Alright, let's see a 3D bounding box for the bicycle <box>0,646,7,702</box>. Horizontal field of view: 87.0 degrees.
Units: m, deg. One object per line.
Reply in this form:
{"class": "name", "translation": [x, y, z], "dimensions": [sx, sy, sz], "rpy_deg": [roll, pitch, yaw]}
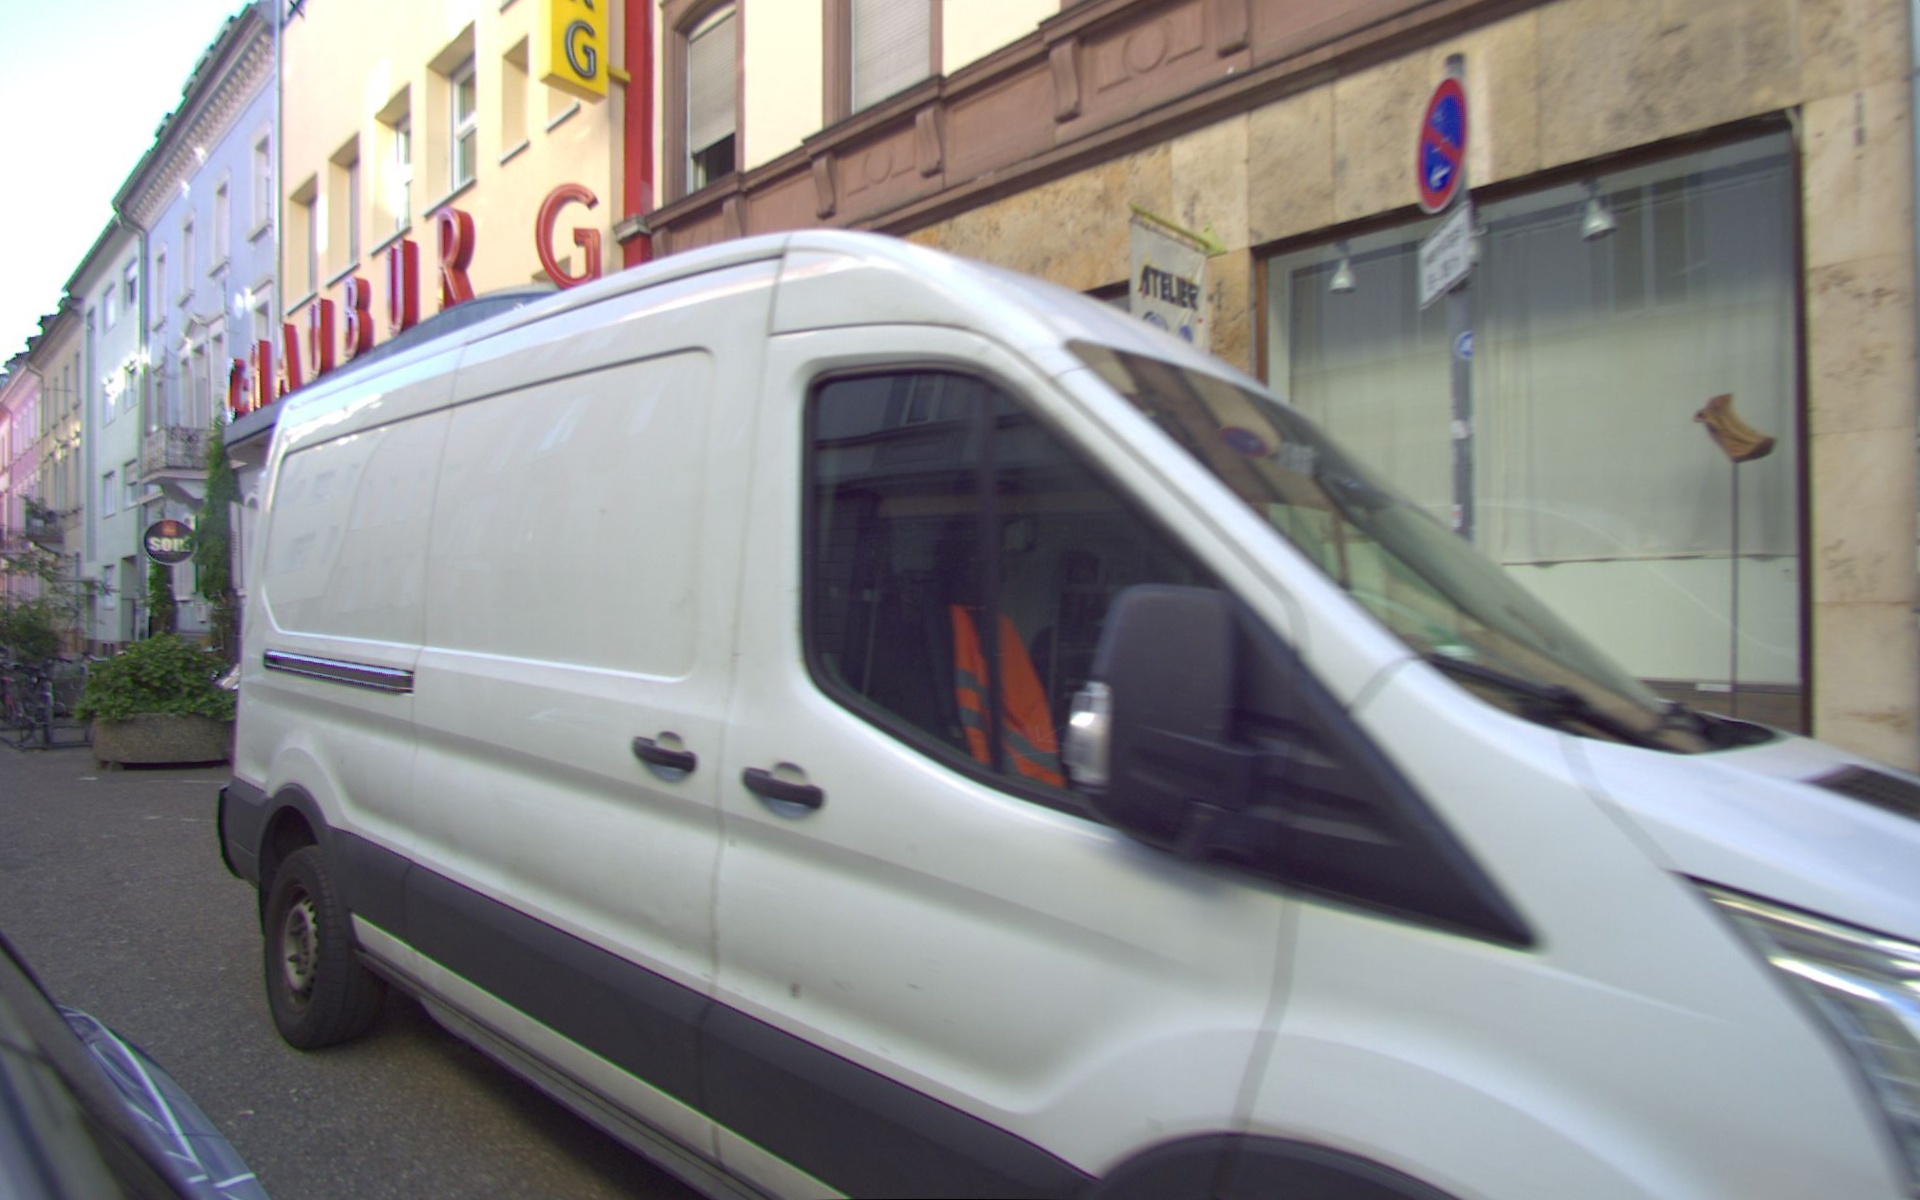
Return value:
{"class": "bicycle", "translation": [-20.092, 1.514, 20.892], "dimensions": [1.931, 1.114, 0.438], "rpy_deg": [-2, -1, 42]}

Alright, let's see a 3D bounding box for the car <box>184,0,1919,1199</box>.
{"class": "car", "translation": [-0.225, 0.288, 3.078], "dimensions": [5.917, 2.471, 2.146], "rpy_deg": [-2, -3, 41]}

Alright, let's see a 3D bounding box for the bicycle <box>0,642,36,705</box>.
{"class": "bicycle", "translation": [-18.751, 1.439, 19.861], "dimensions": [0.919, 1.184, 0.804], "rpy_deg": [-2, -1, 39]}

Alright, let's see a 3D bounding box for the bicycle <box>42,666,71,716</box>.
{"class": "bicycle", "translation": [-15.974, 1.591, 17.880], "dimensions": [1.299, 0.824, 0.253], "rpy_deg": [-2, -1, 43]}

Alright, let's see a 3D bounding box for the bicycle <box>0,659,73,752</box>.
{"class": "bicycle", "translation": [-11.567, 1.260, 12.366], "dimensions": [1.740, 1.055, 0.458], "rpy_deg": [-1, 0, 26]}

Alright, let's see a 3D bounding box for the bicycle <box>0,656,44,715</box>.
{"class": "bicycle", "translation": [-16.686, 1.496, 17.910], "dimensions": [1.571, 0.951, 0.548], "rpy_deg": [-2, -2, 43]}

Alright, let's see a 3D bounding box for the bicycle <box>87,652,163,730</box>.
{"class": "bicycle", "translation": [-12.276, 1.310, 14.869], "dimensions": [1.407, 1.053, 0.568], "rpy_deg": [-1, -1, 38]}

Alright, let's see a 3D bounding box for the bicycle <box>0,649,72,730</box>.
{"class": "bicycle", "translation": [-13.854, 1.307, 15.111], "dimensions": [1.879, 1.102, 0.541], "rpy_deg": [-2, 0, 38]}

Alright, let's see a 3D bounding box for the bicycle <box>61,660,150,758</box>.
{"class": "bicycle", "translation": [-10.306, 1.275, 12.188], "dimensions": [1.862, 1.055, 0.438], "rpy_deg": [-2, 0, 38]}
